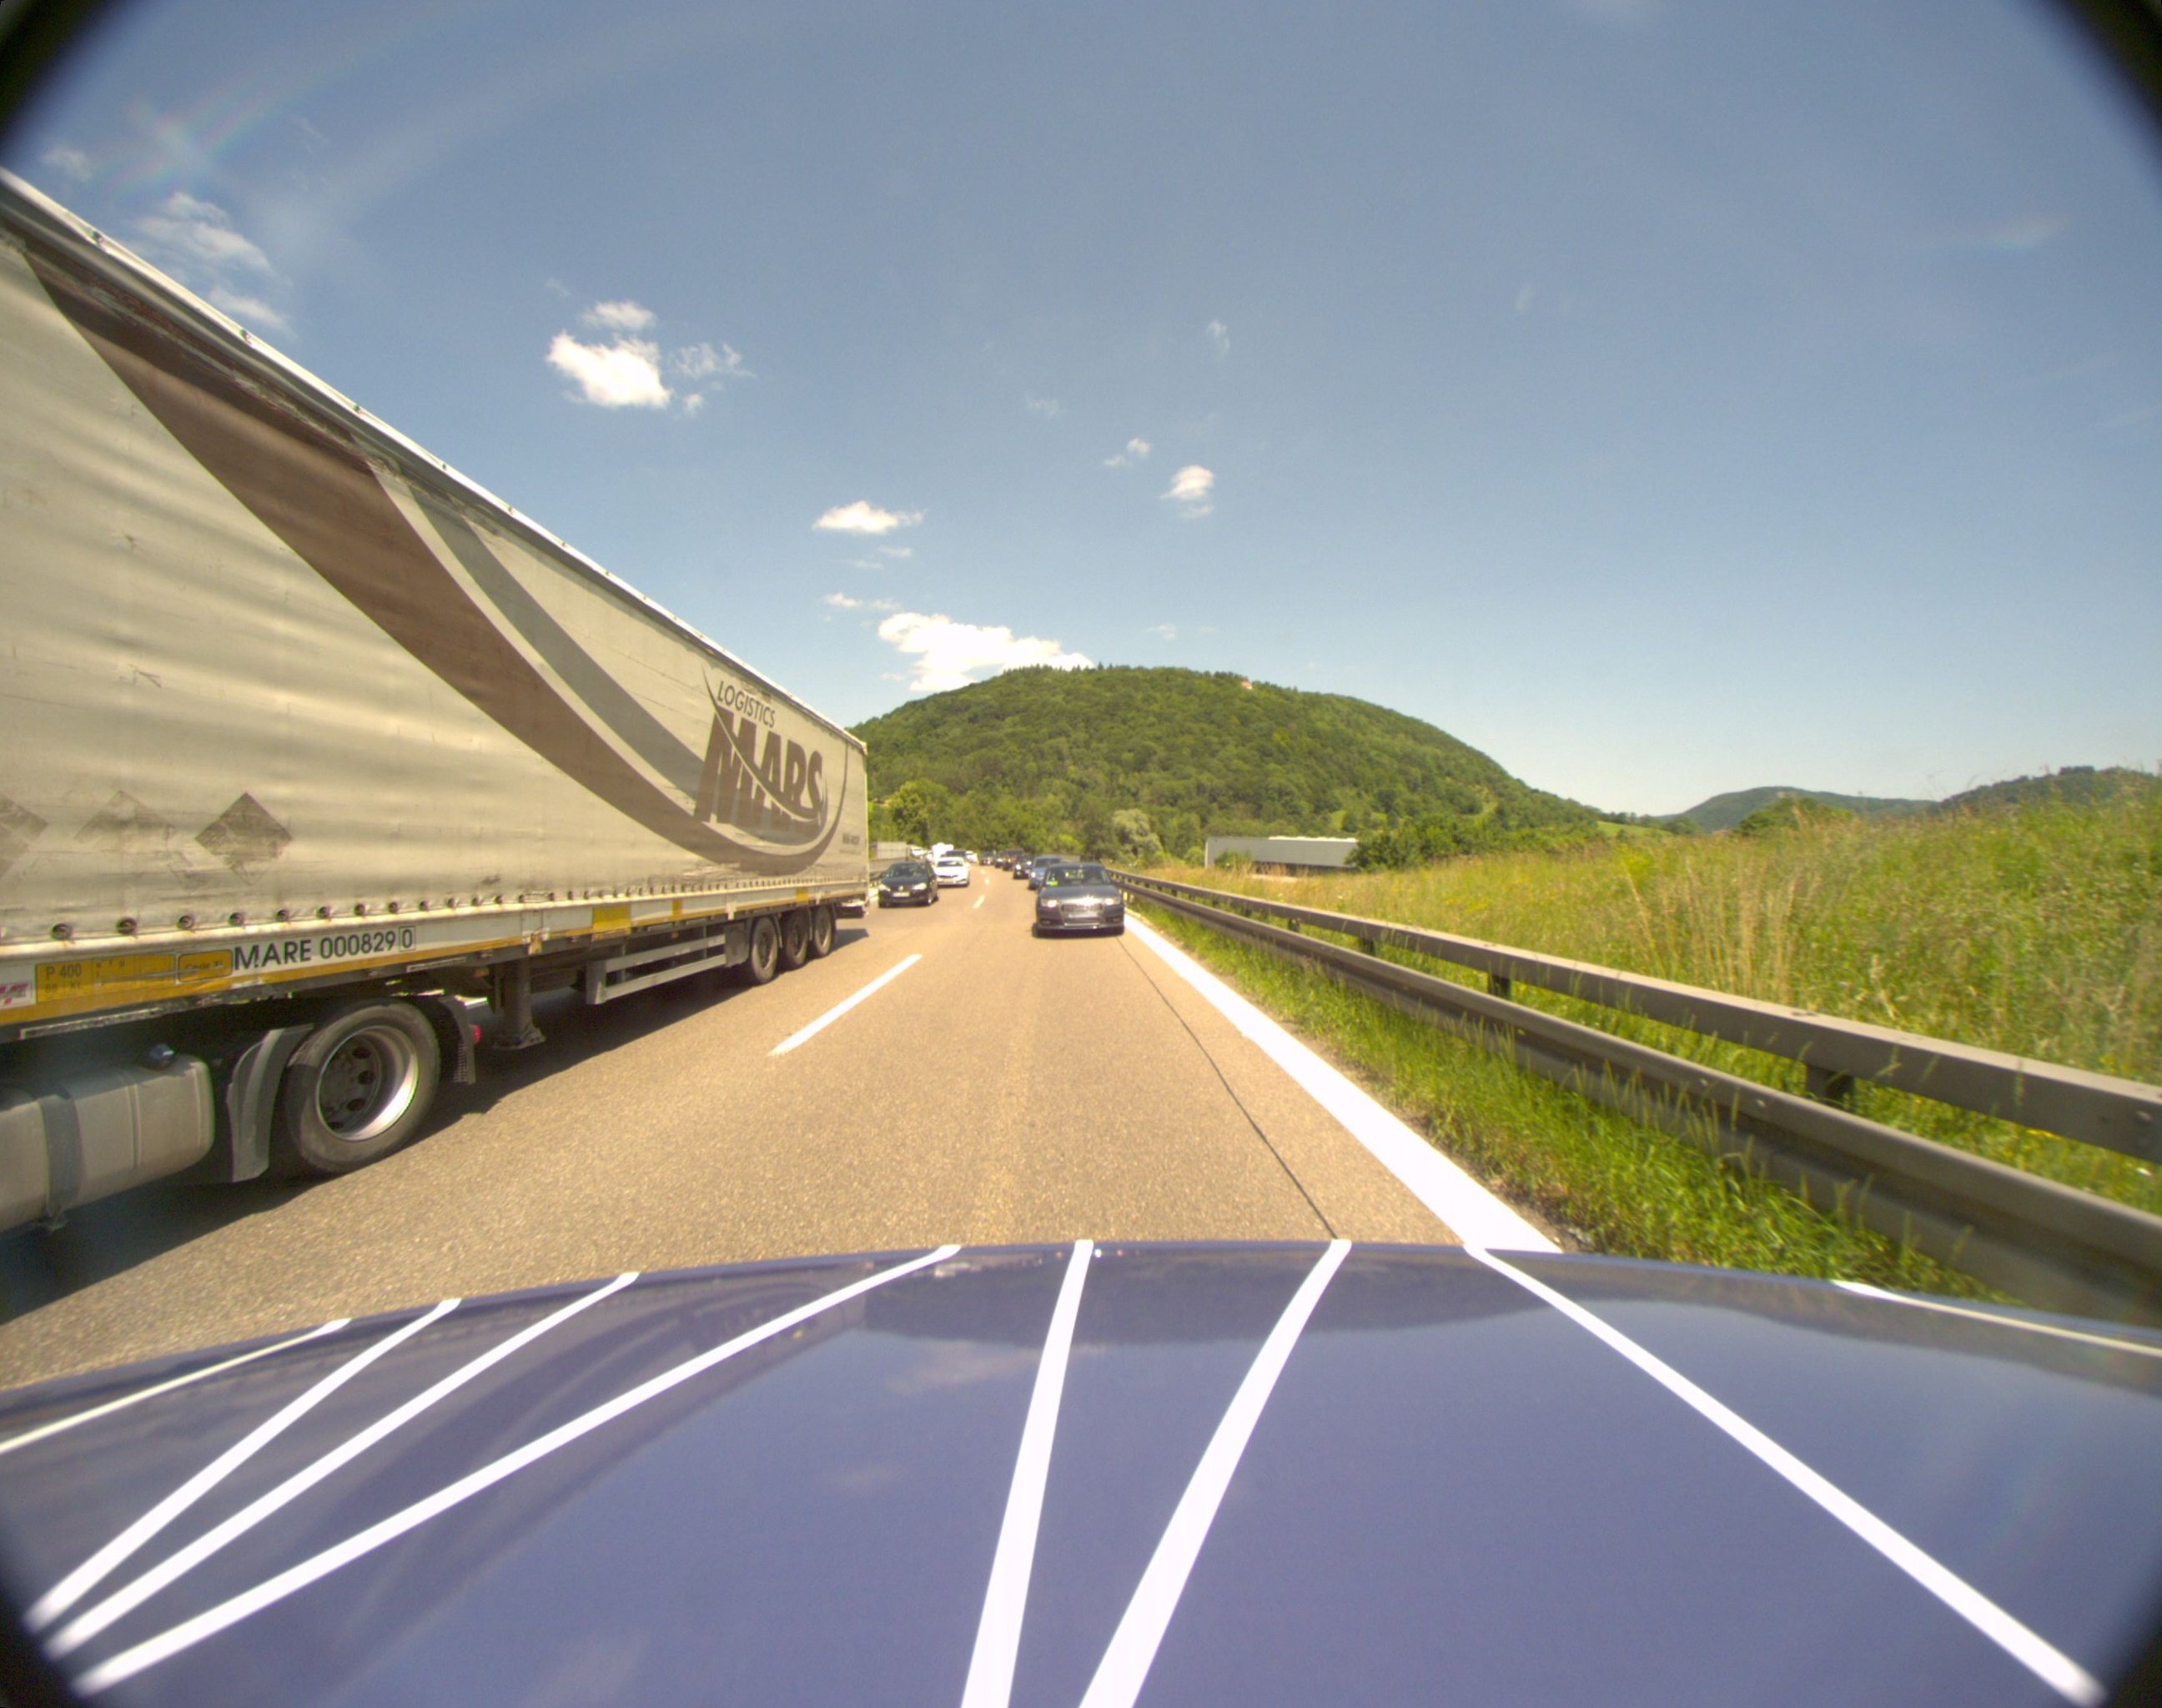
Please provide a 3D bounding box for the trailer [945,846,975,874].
[{"bbox_3d":[-9.274,0.436,58.500,2.000,1.958,3.997,-2,1,-7],"label":"trailer"}]

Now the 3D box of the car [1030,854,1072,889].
[{"bbox_3d":[-1.358,0.723,33.398,1.696,1.422,3.462,-2,0,-3],"label":"car"}]

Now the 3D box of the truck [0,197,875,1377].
[{"bbox_3d":[-5.342,-0.272,8.633,2.733,4.044,13.736,-2,1,-3],"label":"truck"}]

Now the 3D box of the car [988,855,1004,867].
[{"bbox_3d":[-8.231,0.654,73.361,1.492,1.102,3.212,-2,1,-6],"label":"car"}]

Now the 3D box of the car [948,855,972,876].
[{"bbox_3d":[-8.673,0.786,54.705,1.489,1.375,3.736,-3,0,-7],"label":"car"}]

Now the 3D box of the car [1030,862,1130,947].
[{"bbox_3d":[-0.126,0.933,15.740,1.756,1.382,4.053,-2,1,-3],"label":"car"}]

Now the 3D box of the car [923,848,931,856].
[{"bbox_3d":[-30.766,-0.344,151.809,1.246,1.470,2.958,-4,0,-10],"label":"car"}]

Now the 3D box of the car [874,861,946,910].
[{"bbox_3d":[-5.654,0.996,25.527,1.696,1.414,3.837,-2,0,-3],"label":"car"}]

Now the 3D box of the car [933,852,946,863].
[{"bbox_3d":[-21.258,0.485,114.109,1.700,1.523,3.677,-4,0,-10],"label":"car"}]

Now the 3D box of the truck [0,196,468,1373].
[{"bbox_3d":[-5.028,-0.225,1.664,2.727,4.044,5.752,-2,1,-3],"label":"truck"}]

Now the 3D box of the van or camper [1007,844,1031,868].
[{"bbox_3d":[-5.122,0.179,62.259,1.818,1.855,3.611,-2,0,-5],"label":"van or camper"}]

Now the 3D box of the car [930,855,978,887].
[{"bbox_3d":[-6.285,0.807,37.972,1.908,1.422,3.721,-2,0,-3],"label":"car"}]

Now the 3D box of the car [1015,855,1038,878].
[{"bbox_3d":[-3.314,0.738,45.887,1.287,1.305,3.451,-2,0,-5],"label":"car"}]

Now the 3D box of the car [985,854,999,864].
[{"bbox_3d":[-10.501,0.584,89.373,1.492,1.102,3.211,-2,1,-9],"label":"car"}]

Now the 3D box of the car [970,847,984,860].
[{"bbox_3d":[-14.469,-0.051,105.704,1.532,1.627,3.415,-4,0,-13],"label":"car"}]

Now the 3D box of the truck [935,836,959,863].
[{"bbox_3d":[-16.791,-0.561,94.760,2.605,3.089,6.851,-4,0,-12],"label":"truck"}]

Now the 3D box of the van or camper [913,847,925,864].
[{"bbox_3d":[-28.454,0.294,133.710,1.911,3.010,4.869,-1,0,-13],"label":"van or camper"}]
